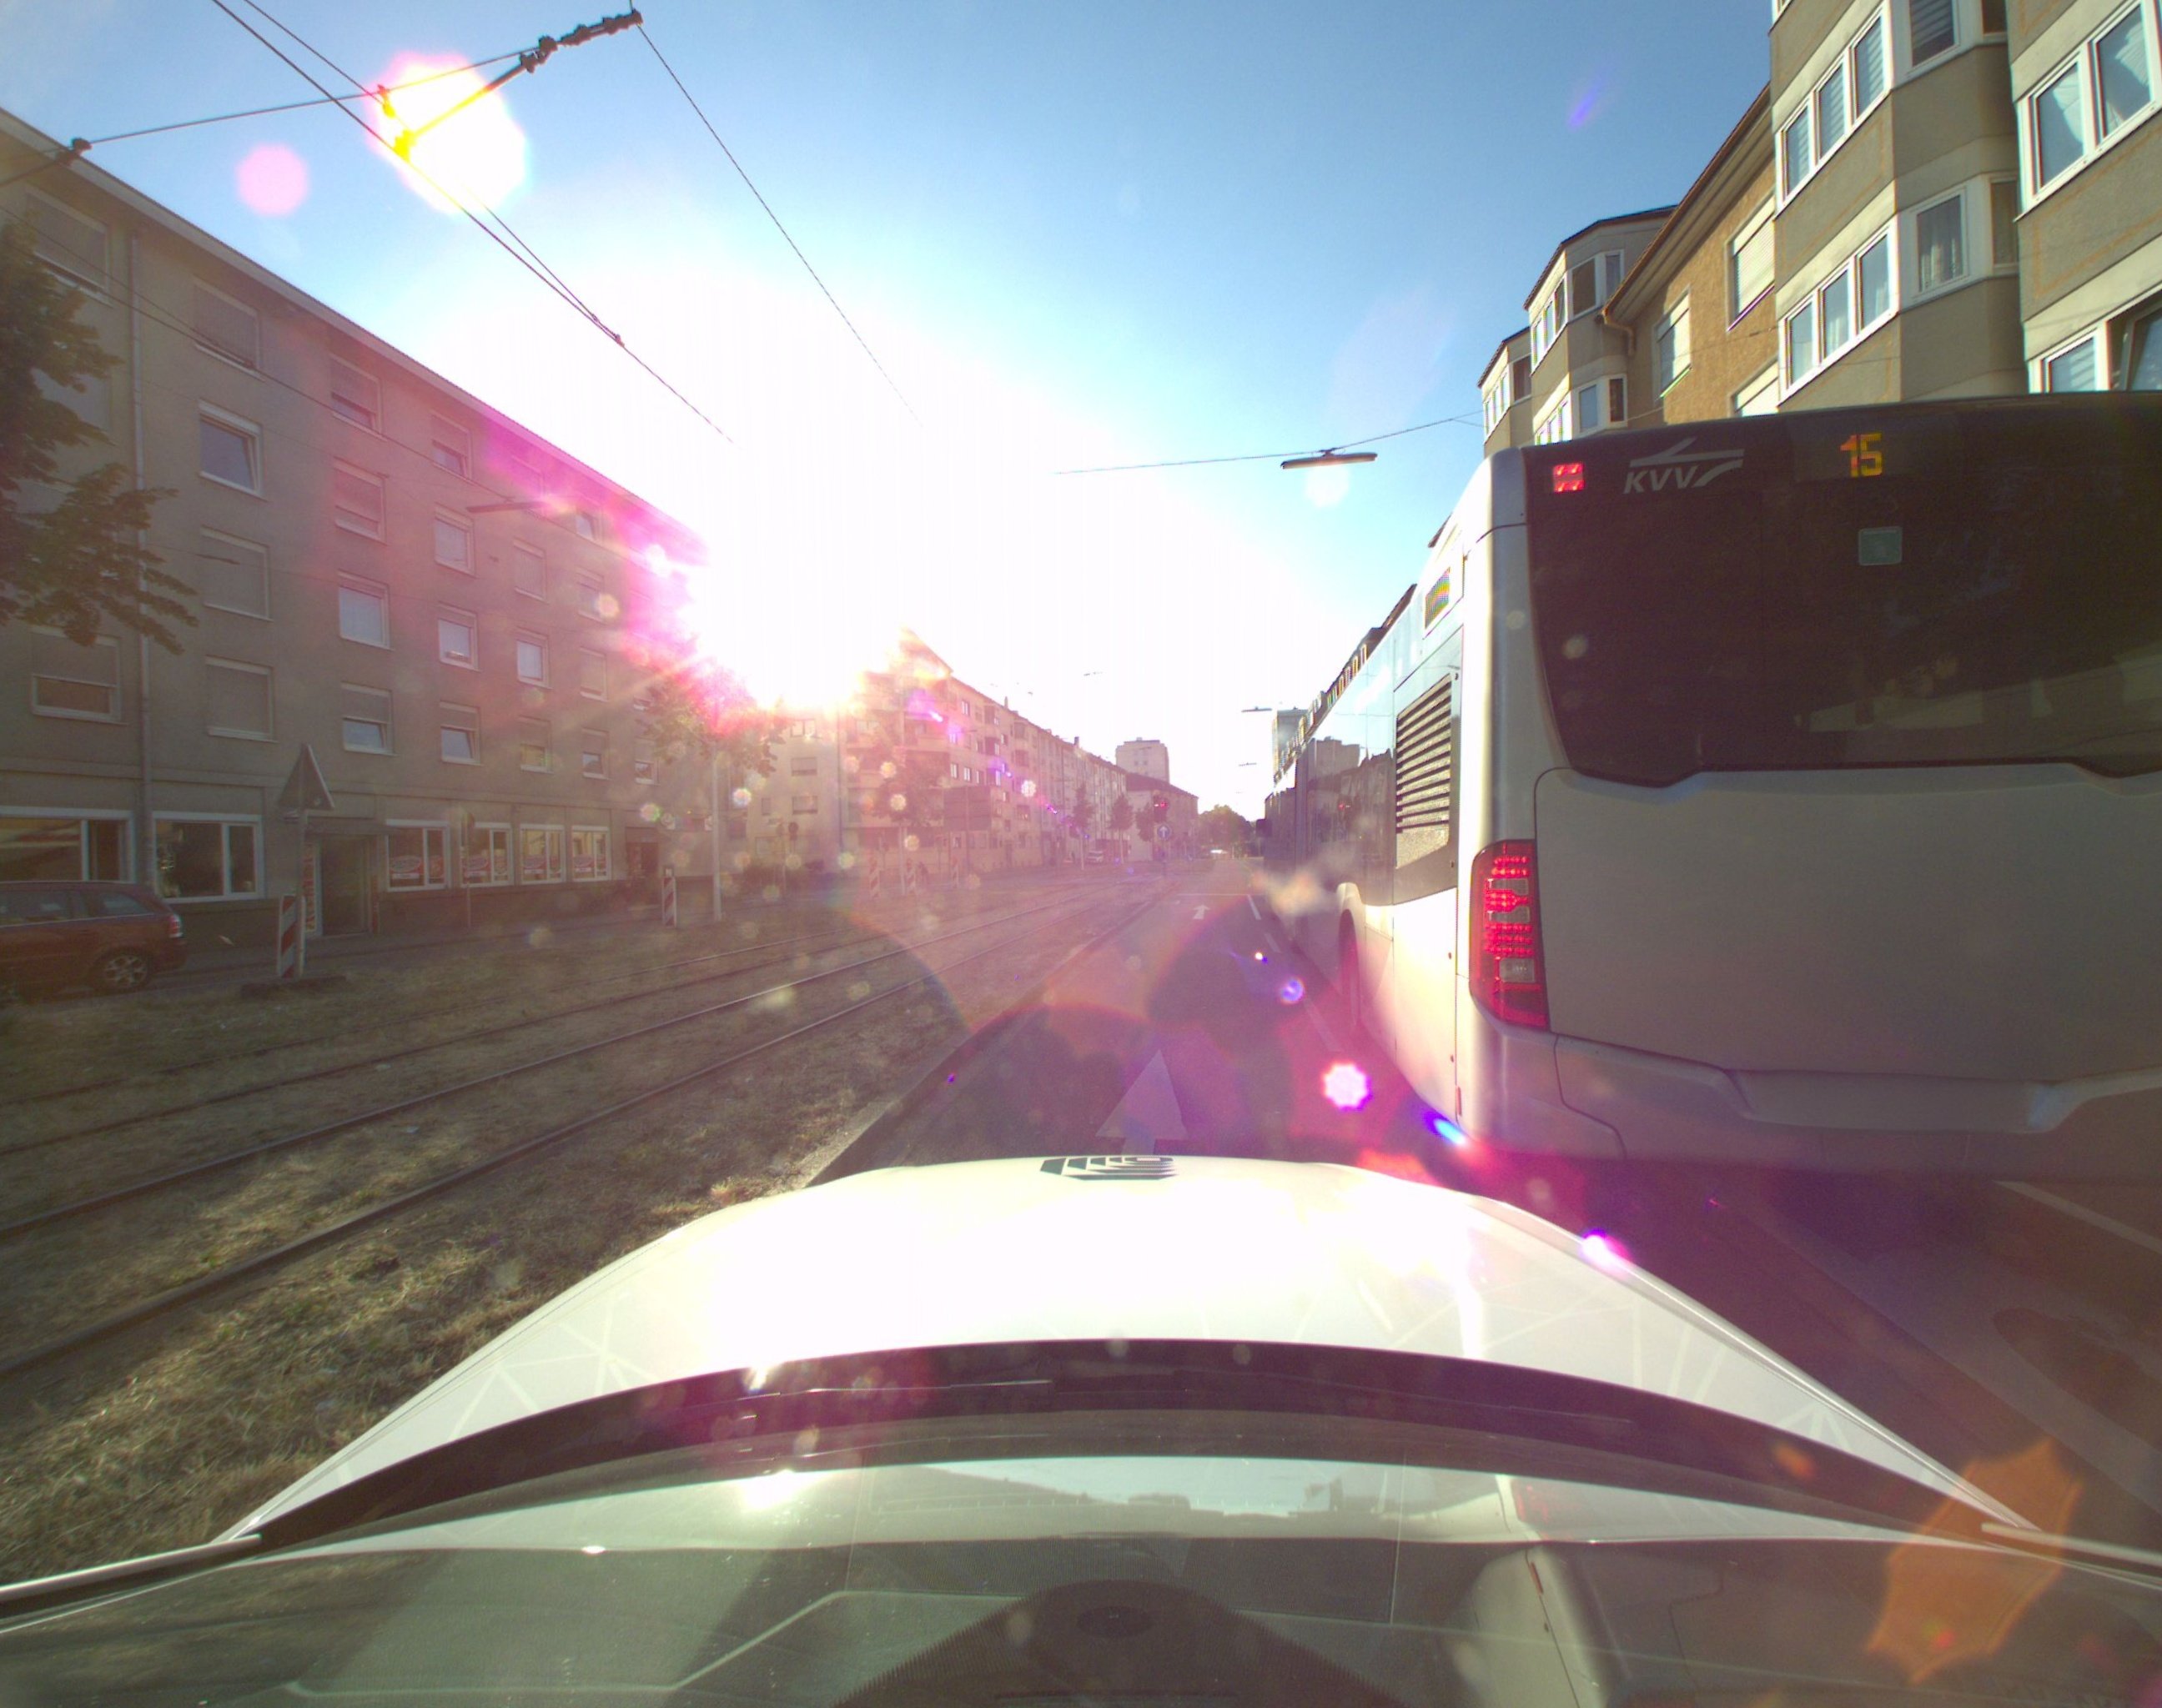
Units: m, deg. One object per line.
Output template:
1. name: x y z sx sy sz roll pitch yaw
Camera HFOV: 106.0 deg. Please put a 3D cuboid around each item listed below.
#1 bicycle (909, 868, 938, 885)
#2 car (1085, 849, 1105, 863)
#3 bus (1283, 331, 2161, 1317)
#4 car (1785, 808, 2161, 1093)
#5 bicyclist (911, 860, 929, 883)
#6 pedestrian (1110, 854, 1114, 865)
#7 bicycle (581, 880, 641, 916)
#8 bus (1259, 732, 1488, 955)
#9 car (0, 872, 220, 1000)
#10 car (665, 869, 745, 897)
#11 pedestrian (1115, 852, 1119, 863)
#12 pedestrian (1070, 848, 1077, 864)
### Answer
1. bicycle: -10.153 1.470 52.644 0.522 0.984 1.895 -3 0 40
2. car: 1.853 0.319 108.014 1.800 1.798 4.258 0 0 12
3. bus: 3.440 -0.109 7.005 2.722 3.056 8.879 0 0 10
4. car: 7.094 0.498 5.496 1.827 1.588 3.796 -2 0 10
5. bicyclist: -10.349 1.141 52.445 0.522 1.447 0.971 -3 -1 40
6. pedestrian: 4.694 0.852 124.385 0.492 1.658 0.410 -2 0 10
7. bicycle: -15.964 1.486 27.727 0.742 1.115 1.783 -2 0 10
8. bus: 5.045 -0.152 15.906 2.722 3.056 9.157 0 0 10
9. car: -14.421 1.086 10.078 1.801 1.560 4.948 -3 -1 10
10. car: -22.792 1.751 49.434 3.945 1.440 1.790 -3 -1 0
11. pedestrian: 5.488 0.510 124.473 0.492 1.658 0.410 -2 0 10
12. pedestrian: -0.951 0.296 104.001 0.782 2.013 0.892 -2 0 7
